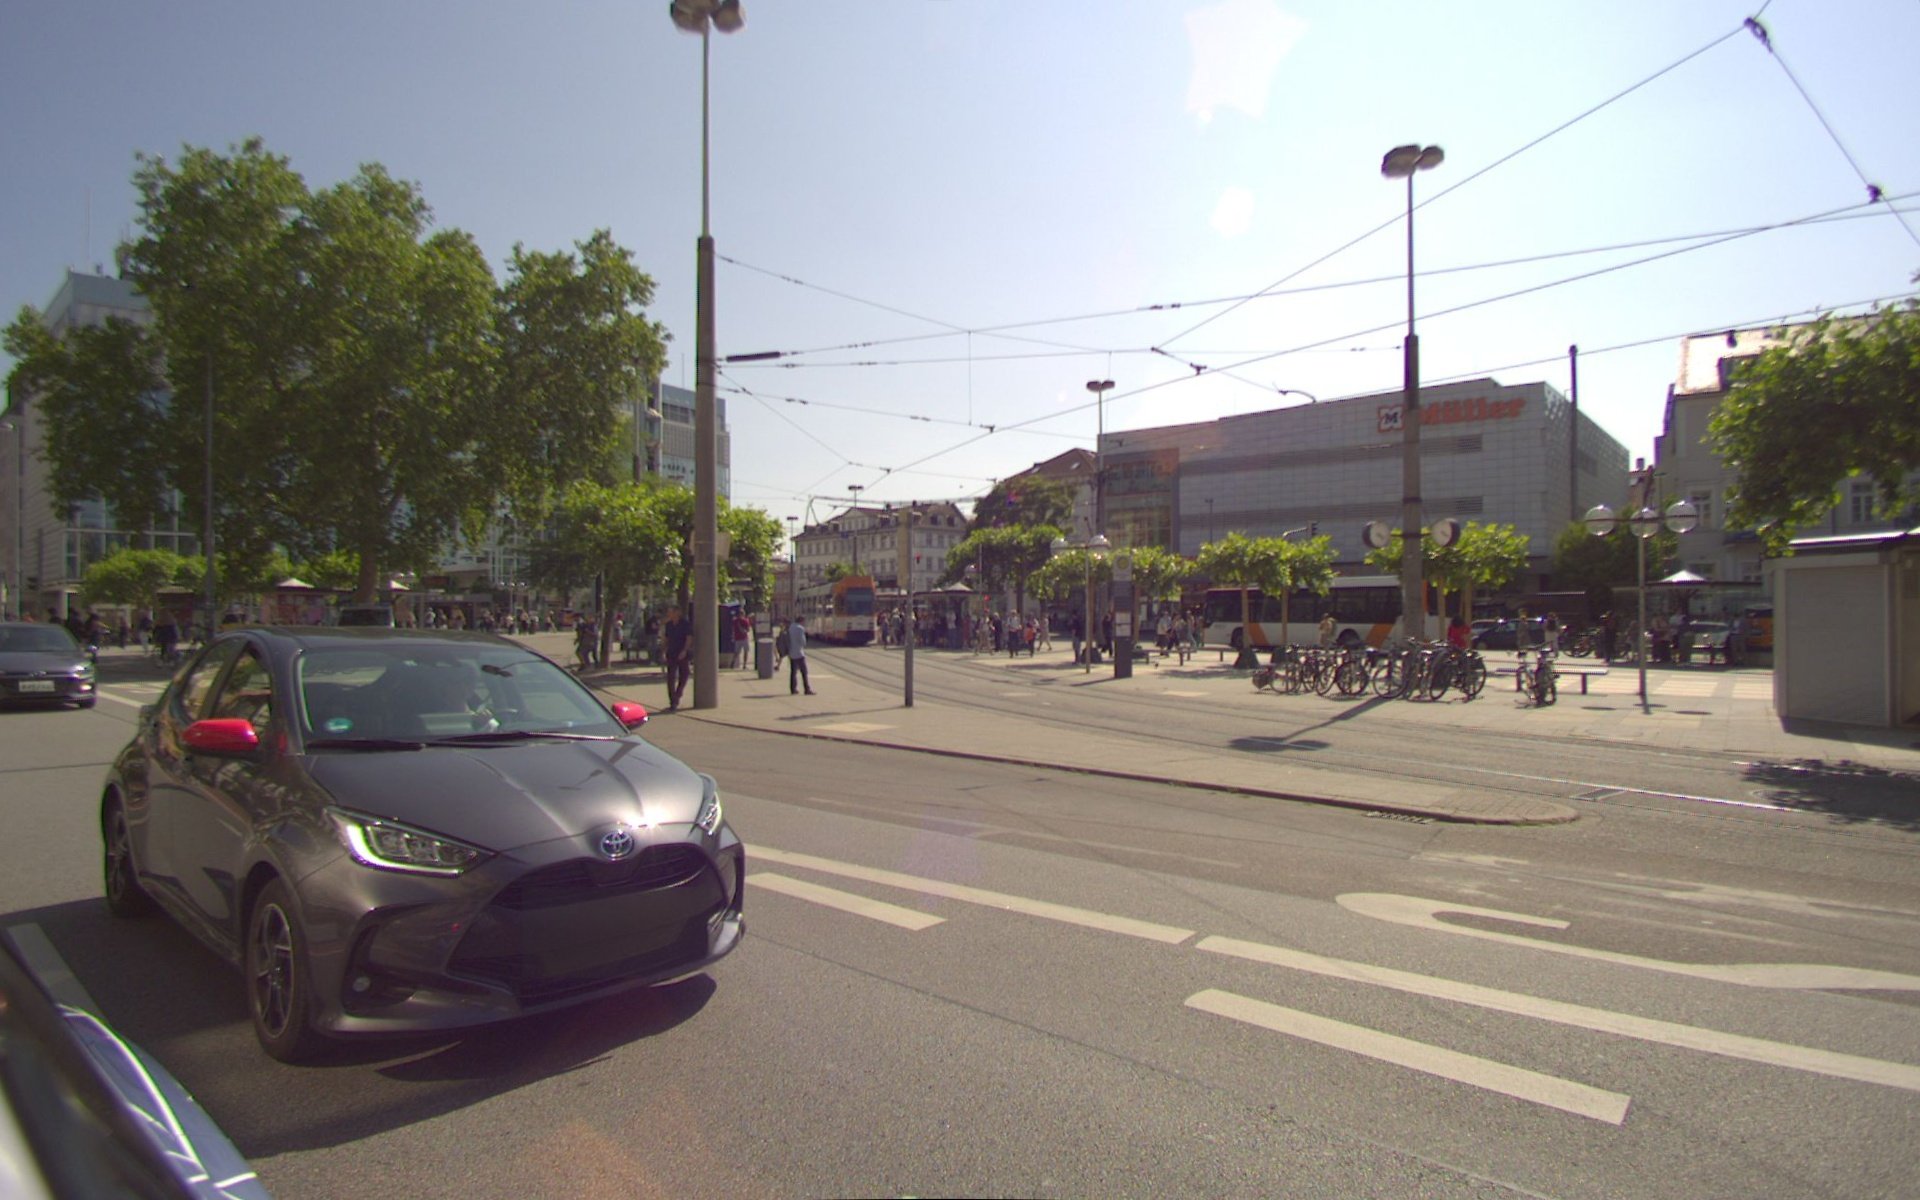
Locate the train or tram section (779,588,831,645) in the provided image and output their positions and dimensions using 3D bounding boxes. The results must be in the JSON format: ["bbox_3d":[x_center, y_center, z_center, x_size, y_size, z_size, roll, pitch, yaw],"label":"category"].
[{"bbox_3d":[-11.495,1.117,74.419,2.578,3.856,9.547,-1,0,-16],"label":"train or tram section"}]

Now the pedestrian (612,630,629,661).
[{"bbox_3d":[-14.479,1.935,43.205,0.483,1.262,0.491,-1,0,39],"label":"pedestrian"}]

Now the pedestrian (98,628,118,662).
[{"bbox_3d":[-42.949,2.269,51.021,0.721,1.682,0.641,-1,0,-36],"label":"pedestrian"}]

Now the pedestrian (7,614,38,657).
[{"bbox_3d":[-39.883,1.497,43.054,0.731,1.760,0.743,-1,0,31],"label":"pedestrian"}]

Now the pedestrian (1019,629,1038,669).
[{"bbox_3d":[2.566,1.835,37.809,0.549,1.477,0.621,-1,-4,19],"label":"pedestrian"}]

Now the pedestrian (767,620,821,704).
[{"bbox_3d":[-3.401,1.252,20.800,0.678,1.671,0.885,-1,-2,32],"label":"pedestrian"}]

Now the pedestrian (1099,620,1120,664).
[{"bbox_3d":[5.437,1.541,36.762,0.530,1.565,0.592,-3,-5,44],"label":"pedestrian"}]

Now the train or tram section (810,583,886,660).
[{"bbox_3d":[-6.382,1.093,56.057,2.578,3.856,9.547,-1,0,-16],"label":"train or tram section"}]

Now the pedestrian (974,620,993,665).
[{"bbox_3d":[0.917,1.681,39.924,0.584,1.744,0.557,-1,-4,19],"label":"pedestrian"}]

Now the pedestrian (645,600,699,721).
[{"bbox_3d":[-4.949,1.042,17.432,0.670,2.023,0.895,1,-3,-3],"label":"pedestrian"}]

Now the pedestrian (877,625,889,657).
[{"bbox_3d":[-3.827,2.027,50.168,0.448,1.561,0.474,0,-4,14],"label":"pedestrian"}]

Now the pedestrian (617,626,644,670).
[{"bbox_3d":[-11.205,1.647,34.387,0.716,1.477,0.682,3,-4,-28],"label":"pedestrian"}]

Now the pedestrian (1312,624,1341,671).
[{"bbox_3d":[11.637,1.510,32.157,0.670,1.477,0.626,4,-5,-43],"label":"pedestrian"}]

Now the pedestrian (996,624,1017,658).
[{"bbox_3d":[2.080,1.841,45.102,0.615,1.477,0.681,4,-5,-43],"label":"pedestrian"}]

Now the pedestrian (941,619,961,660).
[{"bbox_3d":[-0.399,1.784,45.304,0.675,1.809,0.621,-1,-4,19],"label":"pedestrian"}]

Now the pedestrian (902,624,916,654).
[{"bbox_3d":[-2.691,2.075,53.197,0.573,1.561,0.677,0,-4,14],"label":"pedestrian"}]

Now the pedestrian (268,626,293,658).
[{"bbox_3d":[-26.840,1.656,39.972,0.615,1.251,0.663,-1,0,39],"label":"pedestrian"}]

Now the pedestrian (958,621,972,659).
[{"bbox_3d":[0.242,1.872,46.924,0.462,1.731,0.555,-1,-4,19],"label":"pedestrian"}]

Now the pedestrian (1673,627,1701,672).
[{"bbox_3d":[24.275,1.658,33.798,0.679,1.477,0.618,-2,-4,34],"label":"pedestrian"}]

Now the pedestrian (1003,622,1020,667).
[{"bbox_3d":[1.946,1.661,38.098,0.518,1.678,0.469,-1,-4,19],"label":"pedestrian"}]

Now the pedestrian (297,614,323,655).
[{"bbox_3d":[-23.747,1.250,37.005,0.570,1.472,0.788,-1,0,-16],"label":"pedestrian"}]

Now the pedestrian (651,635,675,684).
[{"bbox_3d":[-7.697,1.532,26.203,0.568,1.243,0.555,1,-2,-15],"label":"pedestrian"}]

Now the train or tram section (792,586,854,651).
[{"bbox_3d":[-8.941,1.105,65.246,2.578,3.856,9.547,-1,0,-16],"label":"train or tram section"}]

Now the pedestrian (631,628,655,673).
[{"bbox_3d":[-10.630,1.706,33.936,0.614,1.477,0.682,3,-4,-28],"label":"pedestrian"}]

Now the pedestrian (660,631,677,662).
[{"bbox_3d":[-11.705,1.864,40.673,0.535,1.211,0.528,3,-4,-27],"label":"pedestrian"}]

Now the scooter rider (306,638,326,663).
[{"bbox_3d":[-23.204,1.819,36.476,0.499,0.845,0.350,-1,0,-16],"label":"scooter rider"}]

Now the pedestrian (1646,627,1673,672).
[{"bbox_3d":[23.307,1.643,33.716,0.679,1.477,0.617,-2,-5,38],"label":"pedestrian"}]

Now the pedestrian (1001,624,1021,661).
[{"bbox_3d":[2.121,1.765,41.851,0.675,1.513,0.621,-1,-4,19],"label":"pedestrian"}]

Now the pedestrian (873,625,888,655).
[{"bbox_3d":[-4.242,2.146,54.173,0.568,1.561,0.683,2,-4,-22],"label":"pedestrian"}]

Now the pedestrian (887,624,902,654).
[{"bbox_3d":[-3.451,2.028,53.093,0.573,1.561,0.677,0,-4,14],"label":"pedestrian"}]

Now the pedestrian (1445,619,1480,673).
[{"bbox_3d":[13.983,1.293,28.160,0.617,1.477,0.680,1,-4,3],"label":"pedestrian"}]

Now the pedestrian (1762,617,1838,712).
[{"bbox_3d":[15.831,1.219,19.085,0.740,1.742,0.841,3,-4,-29],"label":"pedestrian"}]

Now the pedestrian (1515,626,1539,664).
[{"bbox_3d":[22.369,1.769,39.907,0.680,1.477,0.616,-3,-5,44],"label":"pedestrian"}]

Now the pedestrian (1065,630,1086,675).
[{"bbox_3d":[3.716,1.682,32.454,0.617,1.429,0.680,1,-4,3],"label":"pedestrian"}]

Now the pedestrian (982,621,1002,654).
[{"bbox_3d":[1.446,1.715,45.704,0.615,1.477,0.681,4,-5,-43],"label":"pedestrian"}]

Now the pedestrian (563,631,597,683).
[{"bbox_3d":[-10.961,1.645,29.193,0.680,1.477,0.616,-2,-5,41],"label":"pedestrian"}]

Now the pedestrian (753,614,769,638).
[{"bbox_3d":[-12.256,1.593,62.209,0.555,1.483,0.748,-1,0,40],"label":"pedestrian"}]

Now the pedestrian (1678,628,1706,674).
[{"bbox_3d":[23.885,1.655,33.023,0.679,1.477,0.617,-2,-5,36],"label":"pedestrian"}]

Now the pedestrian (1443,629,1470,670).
[{"bbox_3d":[18.094,1.794,36.883,0.680,1.477,0.616,-3,-5,44],"label":"pedestrian"}]

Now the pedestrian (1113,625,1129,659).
[{"bbox_3d":[7.143,1.875,44.899,0.672,1.477,0.623,0,-4,7],"label":"pedestrian"}]

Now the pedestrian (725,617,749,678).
[{"bbox_3d":[-6.602,1.406,29.967,0.614,1.759,0.682,2,-4,-15],"label":"pedestrian"}]

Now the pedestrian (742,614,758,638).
[{"bbox_3d":[-13.097,1.613,63.096,0.555,1.483,0.748,-1,0,40],"label":"pedestrian"}]
